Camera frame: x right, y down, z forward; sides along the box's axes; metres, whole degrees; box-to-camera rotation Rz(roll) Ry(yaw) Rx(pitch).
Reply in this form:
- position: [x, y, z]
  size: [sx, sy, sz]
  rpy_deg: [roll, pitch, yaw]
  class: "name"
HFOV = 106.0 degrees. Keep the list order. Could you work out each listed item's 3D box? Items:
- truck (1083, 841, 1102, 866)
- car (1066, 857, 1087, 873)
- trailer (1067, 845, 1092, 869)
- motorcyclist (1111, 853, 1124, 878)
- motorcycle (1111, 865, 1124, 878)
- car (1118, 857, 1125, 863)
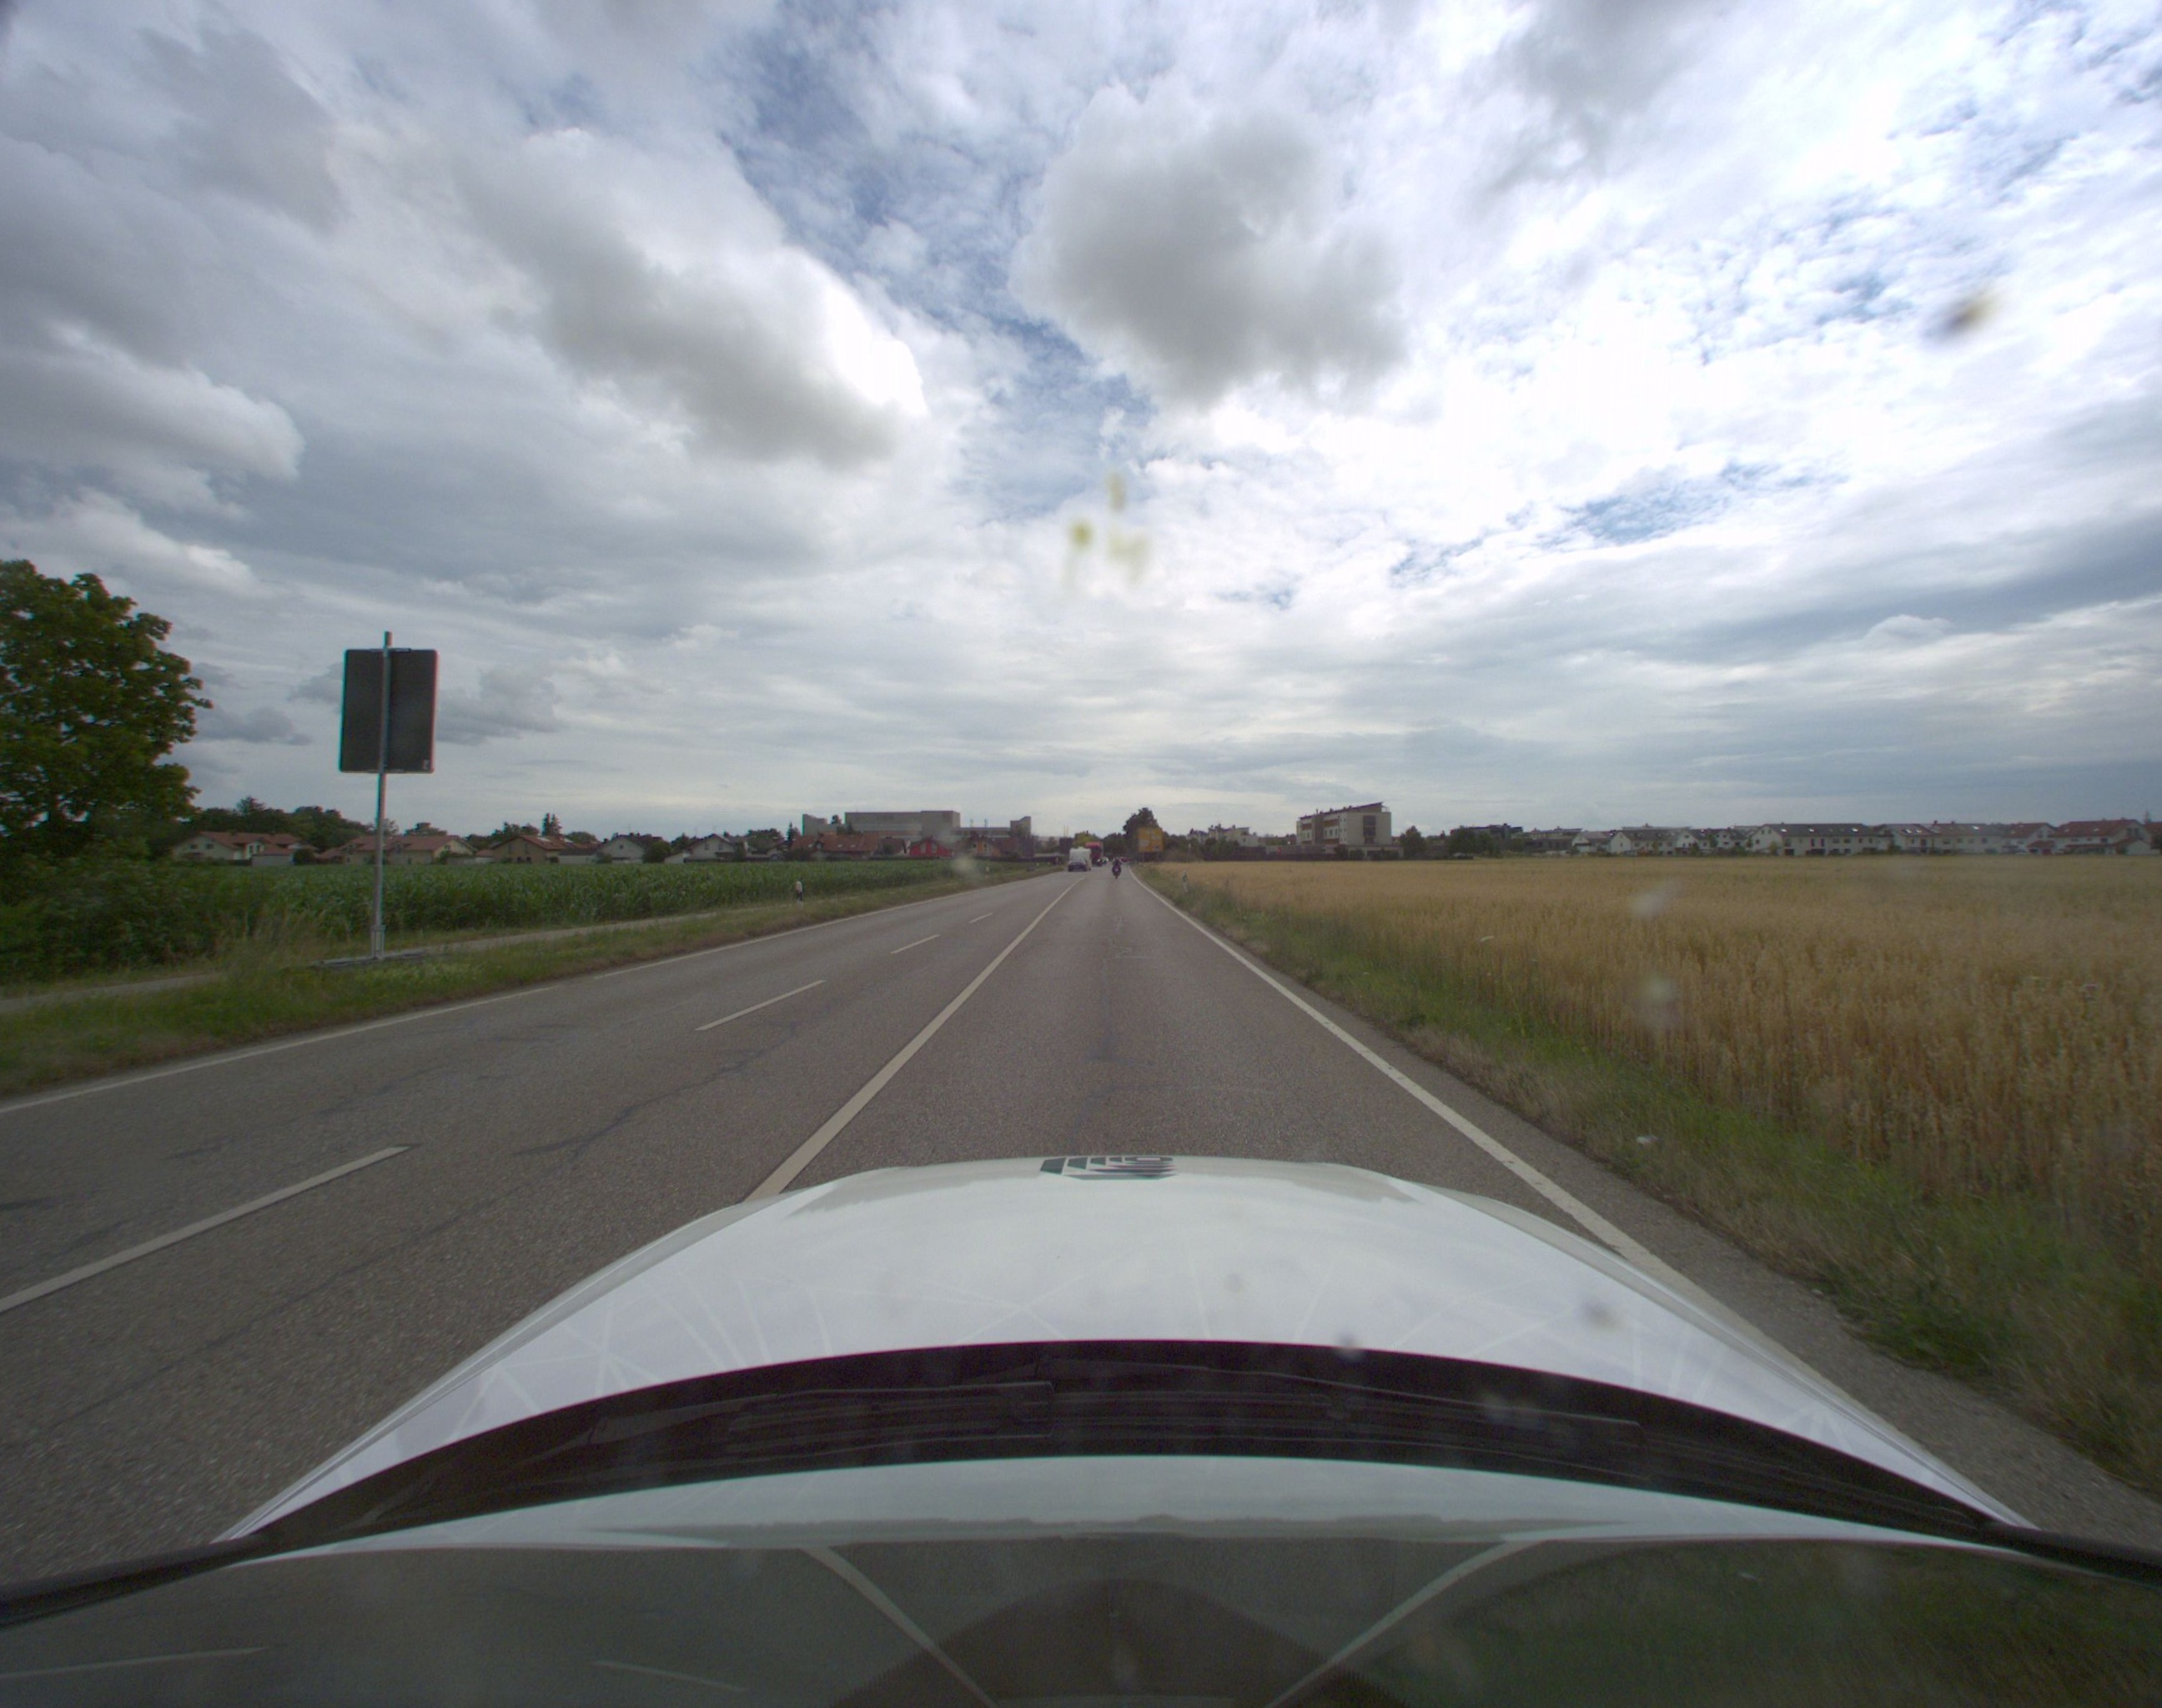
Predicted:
- position: [2.006, -0.054, 135.305]
  size: [2.718, 3.987, 6.822]
  rpy_deg: [-1, 0, 3]
  class: "truck"
- position: [-0.433, 1.153, 88.889]
  size: [1.985, 1.699, 4.679]
  rpy_deg: [-1, 0, 3]
  class: "car"
- position: [-0.092, 0.336, 94.879]
  size: [2.314, 2.729, 7.850]
  rpy_deg: [-1, 0, 3]
  class: "trailer"
- position: [2.648, 0.845, 59.132]
  size: [0.937, 1.750, 1.201]
  rpy_deg: [-1, -1, 3]
  class: "motorcyclist"
- position: [2.646, 1.281, 59.149]
  size: [0.937, 0.890, 2.147]
  rpy_deg: [-1, 0, 3]
  class: "motorcycle"
- position: [10.767, 1.552, 216.302]
  size: [1.847, 1.472, 4.003]
  rpy_deg: [-1, 0, 3]
  class: "car"
